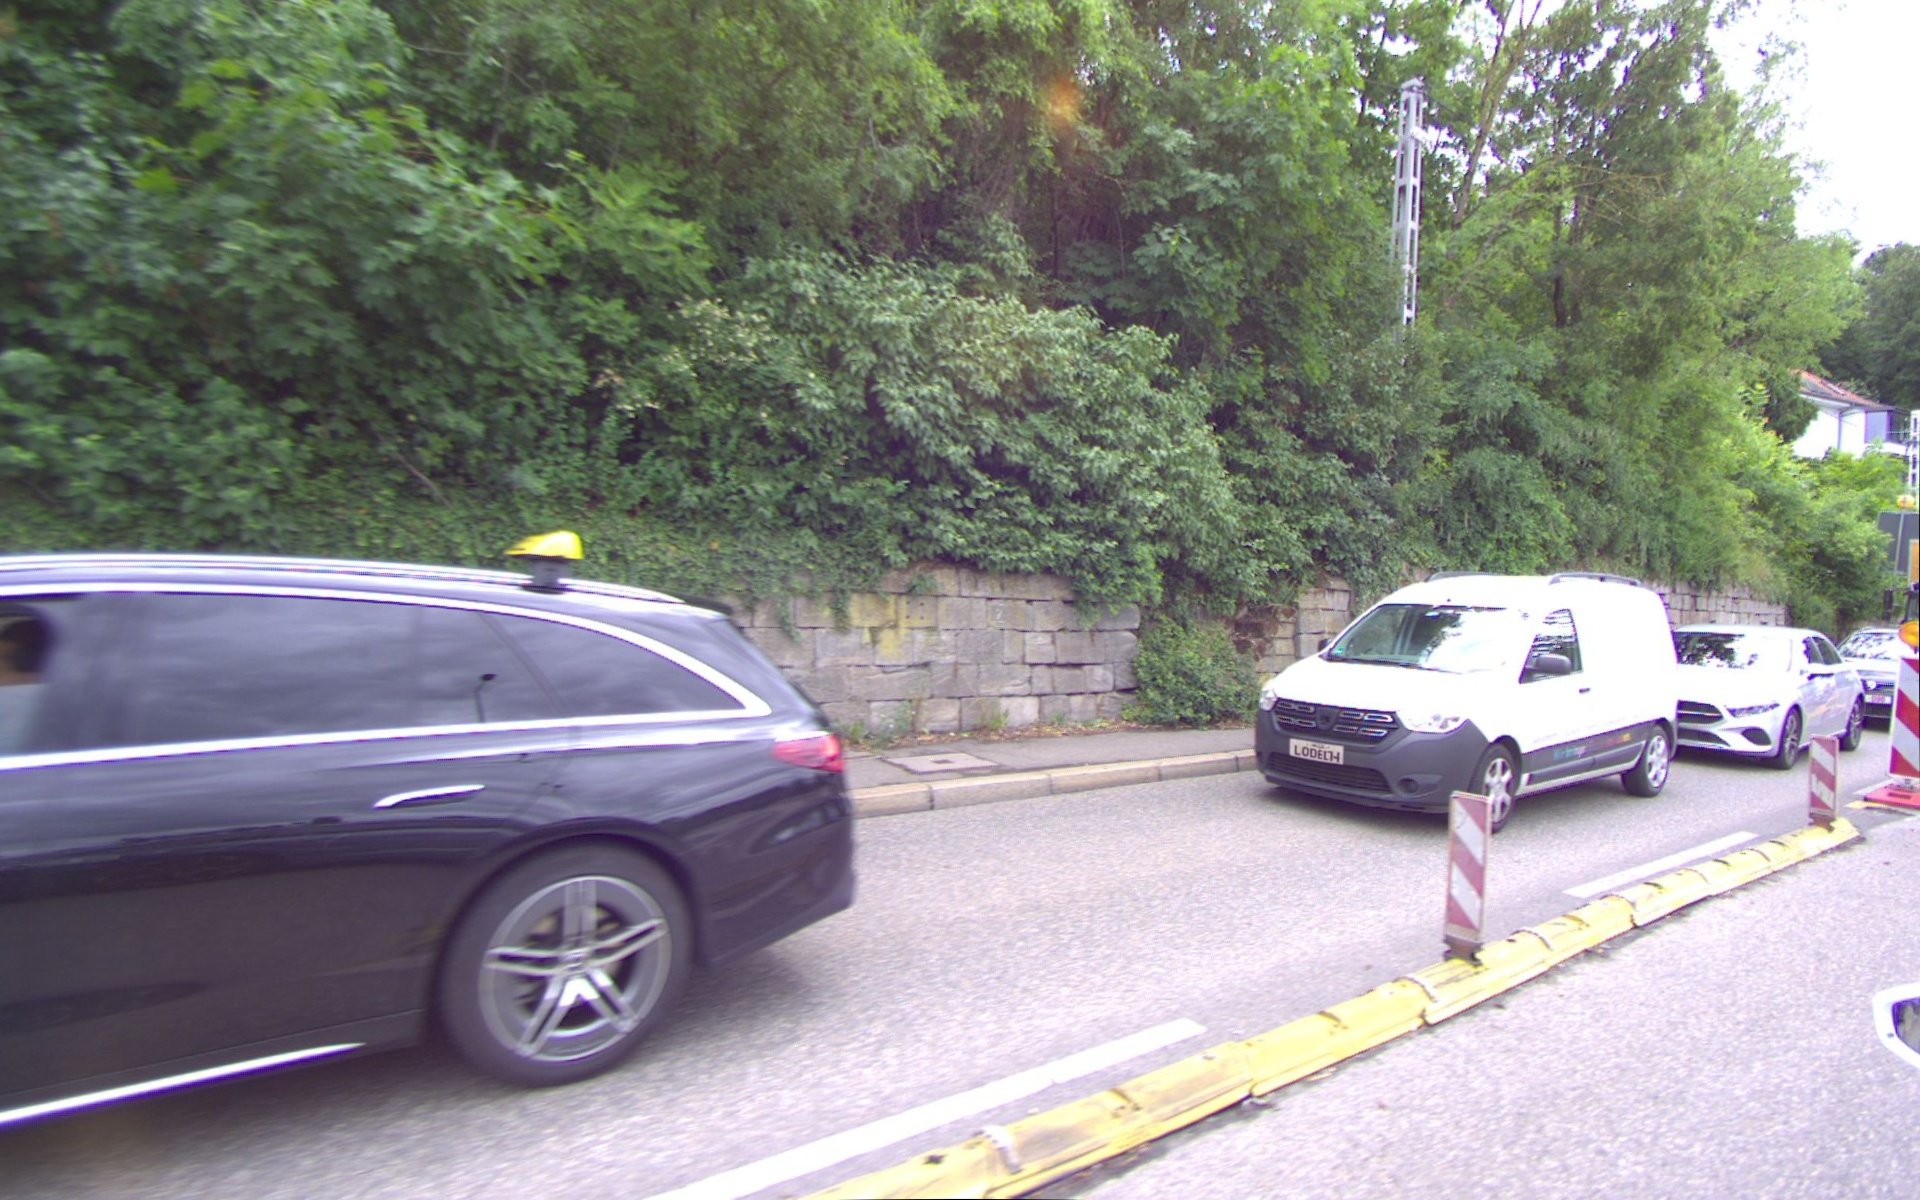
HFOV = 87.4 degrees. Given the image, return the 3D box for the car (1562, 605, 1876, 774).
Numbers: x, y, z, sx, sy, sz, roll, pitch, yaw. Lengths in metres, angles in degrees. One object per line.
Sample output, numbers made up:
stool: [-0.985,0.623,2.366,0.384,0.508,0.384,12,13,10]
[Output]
car: [8.874,0.919,11.627,4.273,1.528,1.778,2,1,-37]

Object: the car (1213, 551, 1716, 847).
car: [4.215,0.634,8.143,4.300,1.814,1.790,2,1,-36]

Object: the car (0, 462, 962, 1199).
car: [-2.401,0.487,2.938,4.610,1.614,1.818,2,1,-37]

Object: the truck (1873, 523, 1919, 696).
truck: [23.060,0.306,22.267,7.280,3.557,2.712,2,0,-36]

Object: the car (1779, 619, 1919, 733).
car: [14.564,1.114,15.583,4.702,1.461,1.757,2,1,-37]
